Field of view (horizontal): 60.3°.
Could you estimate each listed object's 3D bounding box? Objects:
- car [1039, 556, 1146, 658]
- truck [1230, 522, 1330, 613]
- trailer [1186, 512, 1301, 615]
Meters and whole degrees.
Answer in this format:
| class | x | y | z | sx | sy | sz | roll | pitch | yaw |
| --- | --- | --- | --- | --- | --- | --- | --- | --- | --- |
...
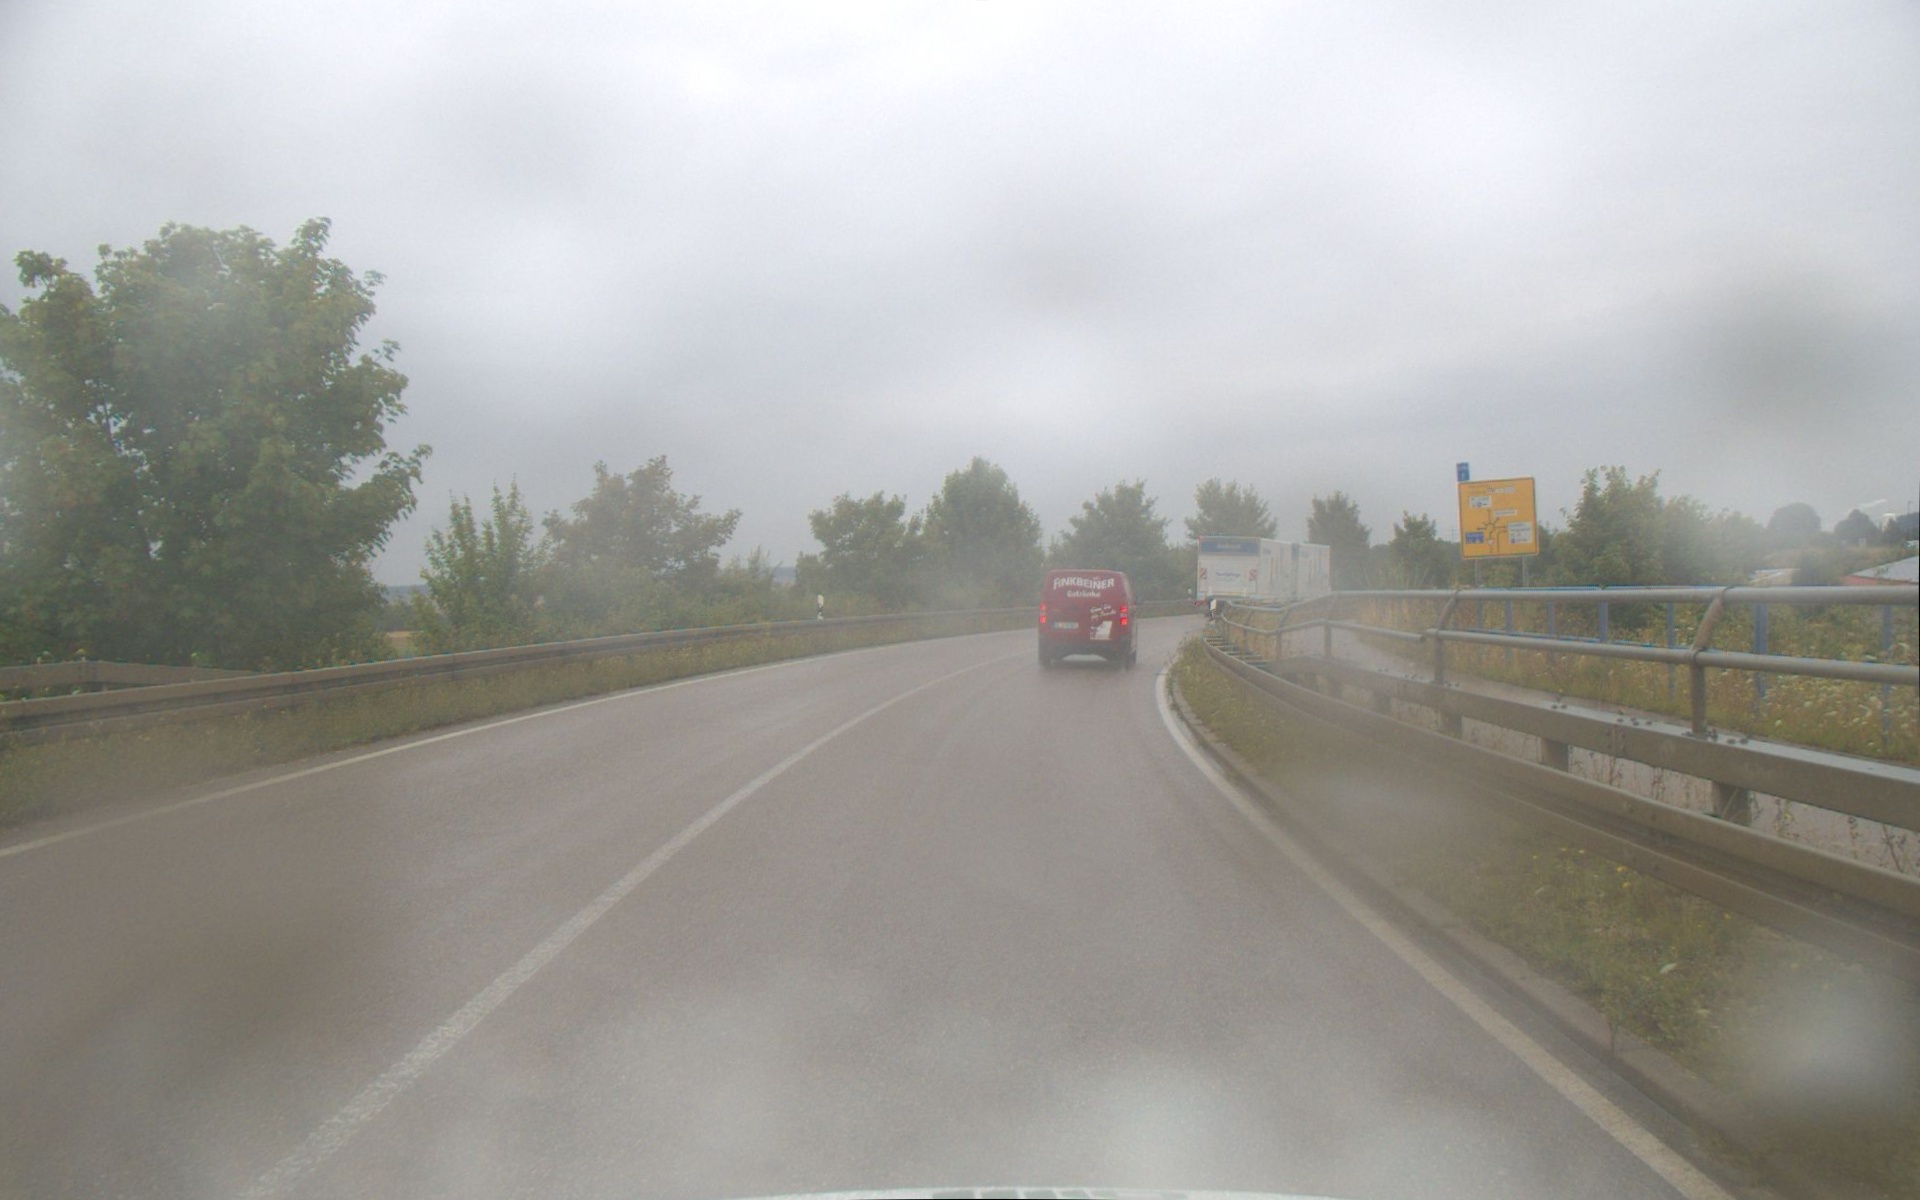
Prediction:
| class | x | y | z | sx | sy | sz | roll | pitch | yaw |
| --- | --- | --- | --- | --- | --- | --- | --- | --- | --- |
| car | 2.801 | 0.100 | 34.080 | 1.951 | 1.959 | 4.147 | 0 | 1 | 8 |
| truck | 15.092 | -1.490 | 77.561 | 3.135 | 3.990 | 8.740 | 1 | 1 | 21 |
| trailer | 12.012 | -1.479 | 69.378 | 3.135 | 3.990 | 8.740 | 1 | 1 | 21 |
